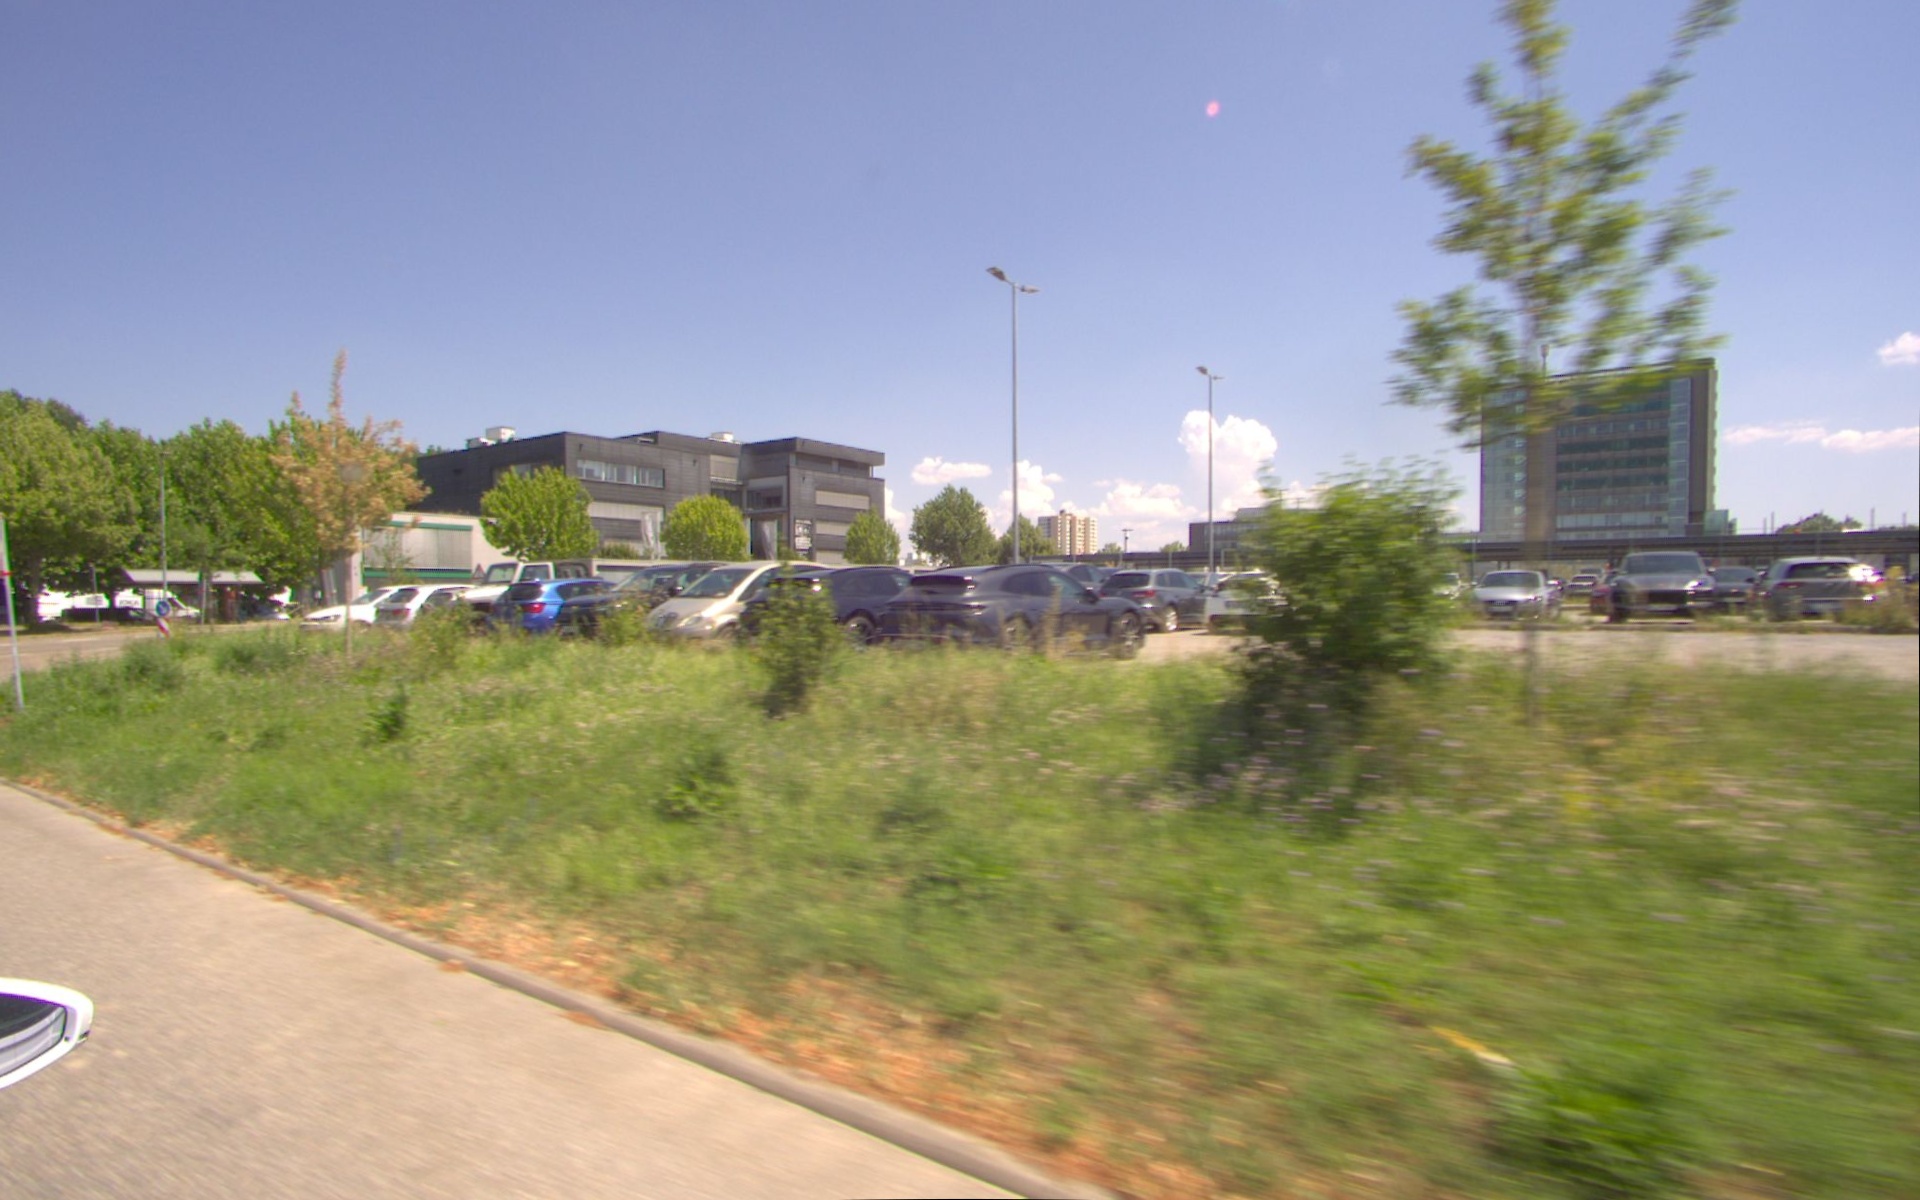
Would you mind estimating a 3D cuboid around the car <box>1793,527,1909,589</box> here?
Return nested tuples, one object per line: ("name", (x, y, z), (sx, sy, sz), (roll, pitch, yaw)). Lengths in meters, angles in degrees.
("car", (25.478, -1.202, 28.780), (1.743, 1.618, 3.977), (4, 4, 32))

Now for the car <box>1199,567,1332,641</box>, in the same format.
("car", (6.899, 0.017, 22.387), (1.743, 1.420, 3.975), (4, 4, 33))

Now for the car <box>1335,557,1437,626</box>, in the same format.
("car", (11.188, -0.283, 26.157), (1.743, 1.618, 3.977), (4, 4, 32))

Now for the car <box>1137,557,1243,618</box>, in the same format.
("car", (6.831, -0.416, 29.485), (1.743, 1.618, 3.977), (4, 4, 32))

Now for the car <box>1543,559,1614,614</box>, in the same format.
("car", (20.042, -0.495, 32.444), (1.743, 1.618, 3.977), (4, 4, 32))

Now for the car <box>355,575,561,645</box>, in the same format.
("car", (-11.952, 0.159, 24.107), (1.743, 1.420, 4.152), (4, 4, 32))

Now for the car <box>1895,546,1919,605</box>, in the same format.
("car", (27.573, -0.646, 27.661), (1.743, 1.618, 3.977), (4, 4, 32))

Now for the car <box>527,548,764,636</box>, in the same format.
("car", (-5.820, -0.223, 18.999), (1.743, 1.420, 4.152), (4, 4, 32))

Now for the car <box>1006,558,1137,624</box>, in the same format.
("car", (2.947, -0.294, 25.772), (1.743, 1.511, 3.977), (4, 4, 32))

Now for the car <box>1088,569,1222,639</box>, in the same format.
("car", (4.687, 0.014, 23.646), (1.743, 1.420, 3.977), (4, 4, 32))

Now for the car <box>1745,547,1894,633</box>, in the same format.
("car", (18.221, -0.273, 21.410), (1.743, 1.618, 3.977), (4, 4, 32))

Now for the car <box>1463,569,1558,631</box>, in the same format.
("car", (13.499, -0.069, 24.450), (1.743, 1.289, 3.977), (4, 4, 32))

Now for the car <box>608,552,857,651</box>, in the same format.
("car", (-3.735, -0.055, 17.119), (1.743, 1.420, 4.152), (4, 4, 32))

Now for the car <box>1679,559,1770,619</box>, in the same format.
("car", (23.052, -0.382, 30.322), (1.743, 1.618, 3.977), (4, 4, 32))

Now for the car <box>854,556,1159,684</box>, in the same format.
("car", (0.831, 0.152, 14.007), (1.896, 1.420, 4.684), (4, 4, 38))

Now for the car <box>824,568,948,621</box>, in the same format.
("car", (-2.185, -0.229, 30.512), (1.743, 1.420, 3.977), (4, 4, 32))

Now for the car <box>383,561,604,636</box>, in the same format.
("car", (-10.148, -0.112, 22.076), (1.743, 1.420, 4.152), (4, 4, 32))

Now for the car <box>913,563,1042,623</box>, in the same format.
("car", (0.565, -0.244, 27.838), (1.743, 1.482, 3.977), (4, 4, 32))

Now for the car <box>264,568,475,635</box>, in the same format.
("car", (-14.434, -0.039, 24.724), (1.743, 1.420, 4.152), (4, 4, 32))

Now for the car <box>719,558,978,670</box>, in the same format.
("car", (-1.550, 0.108, 15.374), (1.743, 1.420, 4.152), (4, 4, 32))

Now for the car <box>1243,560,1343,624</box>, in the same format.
("car", (9.513, -0.288, 28.435), (1.743, 1.618, 3.977), (4, 4, 32))

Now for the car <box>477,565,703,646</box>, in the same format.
("car", (-7.445, 0.017, 20.527), (1.743, 1.420, 4.152), (4, 4, 32))

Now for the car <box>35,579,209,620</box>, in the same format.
("car", (-46.458, -0.084, 55.712), (1.976, 2.116, 7.140), (0, 1, 39))

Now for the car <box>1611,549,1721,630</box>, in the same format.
("car", (15.855, -0.299, 22.655), (1.743, 1.618, 3.977), (4, 4, 32))
